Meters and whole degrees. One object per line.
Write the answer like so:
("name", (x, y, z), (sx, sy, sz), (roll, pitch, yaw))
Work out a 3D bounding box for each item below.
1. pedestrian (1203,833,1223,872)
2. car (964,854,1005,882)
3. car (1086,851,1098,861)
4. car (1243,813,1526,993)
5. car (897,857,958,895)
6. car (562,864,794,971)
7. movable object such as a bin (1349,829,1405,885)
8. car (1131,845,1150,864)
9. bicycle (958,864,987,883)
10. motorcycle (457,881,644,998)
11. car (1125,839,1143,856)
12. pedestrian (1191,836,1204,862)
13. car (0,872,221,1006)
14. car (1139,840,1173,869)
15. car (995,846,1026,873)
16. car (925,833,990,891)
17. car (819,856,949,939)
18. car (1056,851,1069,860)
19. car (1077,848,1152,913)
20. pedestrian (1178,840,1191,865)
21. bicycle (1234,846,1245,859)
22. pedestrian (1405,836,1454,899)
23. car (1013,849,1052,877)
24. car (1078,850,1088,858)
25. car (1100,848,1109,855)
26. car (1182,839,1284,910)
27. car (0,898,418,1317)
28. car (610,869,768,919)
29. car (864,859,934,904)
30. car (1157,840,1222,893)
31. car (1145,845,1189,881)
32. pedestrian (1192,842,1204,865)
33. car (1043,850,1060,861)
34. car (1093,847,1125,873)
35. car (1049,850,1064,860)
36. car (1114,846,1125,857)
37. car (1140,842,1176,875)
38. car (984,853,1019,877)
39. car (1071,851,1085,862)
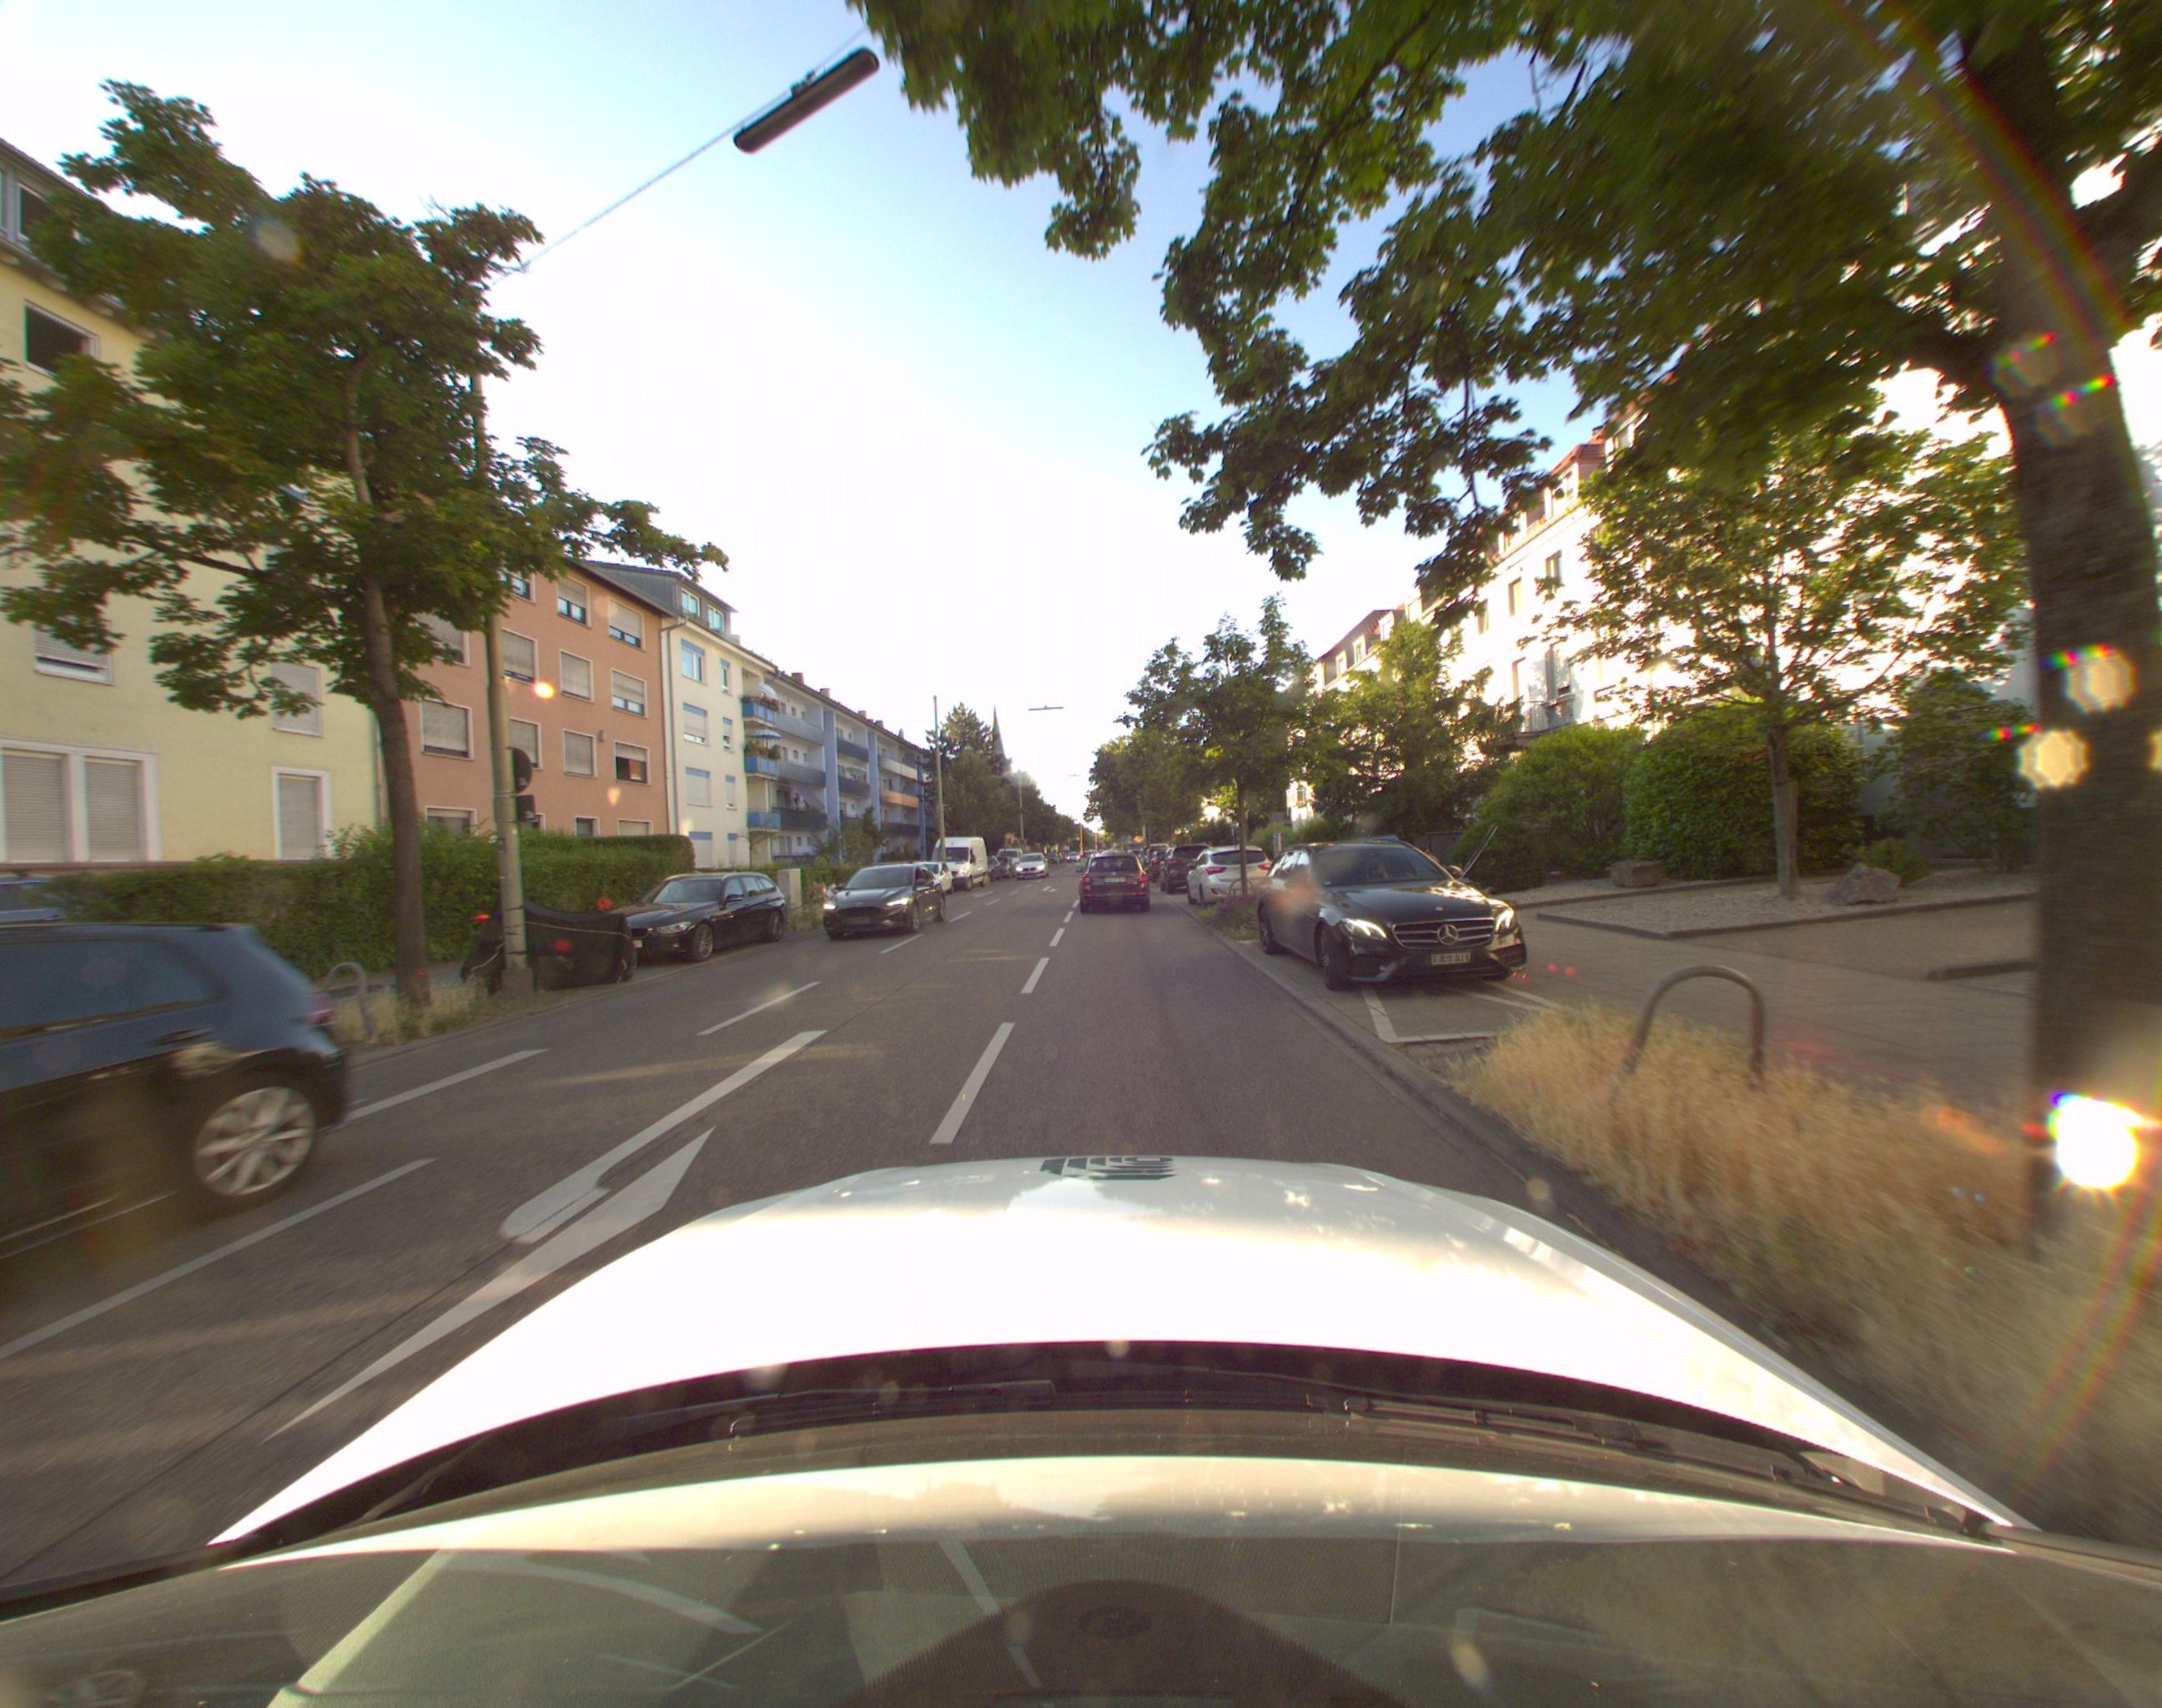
("pedestrian", (5.800, -0.067, 35.807), (0.784, 1.700, 0.809), (-2, 0, 6))
("car", (-5.888, 0.804, 50.346), (1.665, 1.543, 4.477), (-3, 0, 3))
("car", (1.829, 0.294, 132.777), (1.776, 1.480, 3.969), (-1, 0, -1))
("car", (3.338, 0.454, 10.096), (1.866, 1.581, 4.825), (-4, 0, 3))
("car", (-6.466, 0.877, 34.761), (1.700, 1.492, 4.060), (0, 0, 2))
("car", (-6.984, 0.998, 14.776), (1.772, 1.504, 4.590), (-2, 0, 2))
("movable object such as a bin", (8.596, 0.079, 23.692), (1.259, 1.492, 1.143), (-5, 0, 11))
("car", (5.603, 0.023, 77.176), (1.747, 1.686, 4.256), (-1, 0, 3))
("bicycle", (-5.994, 1.088, 45.027), (1.463, 1.014, 0.441), (-1, 0, 8))
("motorcycle", (-7.084, 1.088, 11.017), (2.034, 1.389, 0.981), (0, -1, -30))
("car", (6.079, -0.774, 93.679), (1.908, 1.860, 5.638), (-2, 0, 3))
("pedestrian", (8.581, -0.356, 59.978), (0.793, 1.861, 0.954), (-3, 0, 12))
("car", (-14.955, 1.169, 11.238), (1.821, 1.683, 4.001), (-2, 0, 1))
("car", (4.949, 0.018, 54.276), (1.794, 1.808, 4.423), (-1, 0, 0))
("car", (-5.501, 0.401, 64.214), (1.862, 2.031, 5.302), (-2, 0, 1))
("car", (-6.070, 0.347, 41.059), (1.986, 2.616, 7.107), (-1, 0, 1))
("car", (-4.155, 0.855, 17.914), (1.694, 1.470, 4.294), (-4, 0, 0))
("car", (-3.070, 0.259, 136.337), (1.773, 1.480, 3.975), (-1, 0, 4))
("car", (0.904, 0.604, 21.053), (1.747, 1.492, 4.004), (-1, 0, 3))
("pedestrian", (7.659, -0.114, 60.481), (0.746, 1.861, 1.068), (-3, 0, 1))
("bicycle", (11.774, -0.108, 60.600), (0.473, 0.944, 1.681), (-3, 0, 1))
("pedestrian", (7.188, 0.270, 16.828), (0.670, 1.234, 0.791), (-2, 0, 2))
("car", (-2.954, 0.531, 50.747), (1.872, 1.543, 4.271), (-3, 0, 3))
("car", (0.380, 0.046, 190.116), (1.989, 1.750, 3.995), (-3, 0, -4))
("car", (5.304, -0.545, 184.930), (1.641, 1.599, 3.645), (-3, 0, -4))
("car", (3.633, 0.436, 20.256), (1.712, 1.494, 4.394), (-3, 0, 1))
("car", (-4.780, 1.030, 2.696), (1.694, 1.403, 4.029), (-4, 0, 1))
("car", (-12.195, 1.220, 25.530), (3.972, 1.413, 1.917), (-1, 0, 1))
("car", (-6.648, 0.966, 30.085), (1.606, 1.473, 3.814), (-1, 0, 1))
("car", (3.648, 0.371, 27.945), (1.712, 1.601, 4.097), (-3, 0, 1))
("car", (3.913, 0.383, 37.682), (1.607, 1.466, 3.960), (-4, 0, 1))
("pedestrian", (8.905, -0.039, 61.894), (0.794, 1.721, 0.746), (-3, 0, 10))
("car", (-3.859, 0.199, 107.647), (1.773, 1.480, 4.037), (-1, 0, 4))
("car", (1.710, 0.361, 50.077), (1.885, 1.506, 3.790), (1, -1, 1))
("car", (-3.608, 0.135, 120.168), (1.773, 1.480, 3.975), (-1, 0, 4))
("car", (6.657, -0.452, 141.663), (1.747, 1.806, 4.002), (-1, 0, 2))
("car", (4.238, 0.235, 45.101), (1.747, 1.662, 4.256), (-4, 0, 3))
("car", (-5.398, 0.743, 55.827), (1.685, 1.483, 4.148), (-2, 0, 4))
("car", (-0.453, 0.323, 118.855), (1.774, 1.494, 3.973), (-1, 0, 2))
